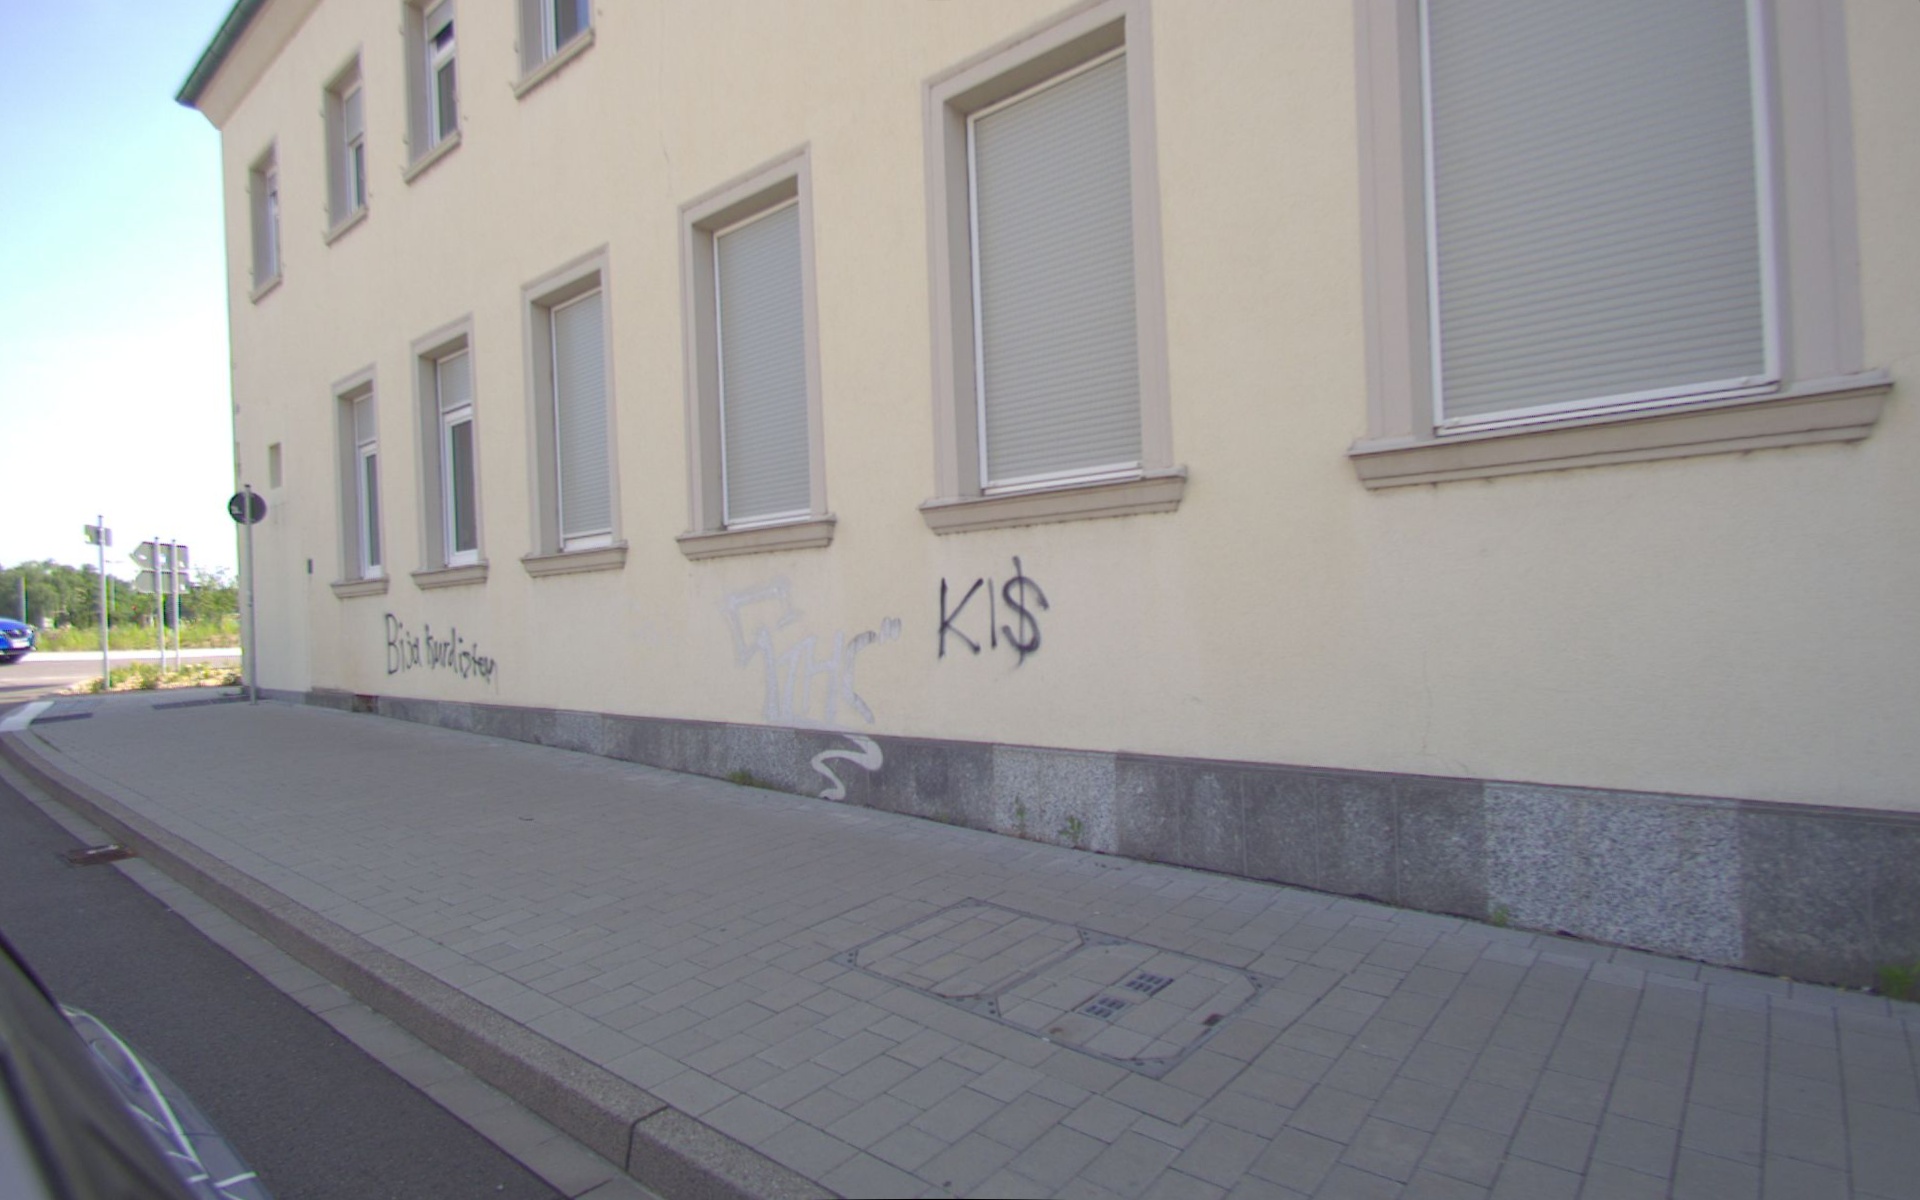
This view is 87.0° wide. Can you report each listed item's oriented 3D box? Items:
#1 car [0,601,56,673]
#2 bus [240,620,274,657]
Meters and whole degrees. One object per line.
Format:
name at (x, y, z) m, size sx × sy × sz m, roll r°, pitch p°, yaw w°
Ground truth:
car at (-24.443, 0.870, 23.948) m, size 4.287 × 1.676 × 1.889 m, roll 0°, pitch 0°, yaw -4°
bus at (-70.838, 3.931, 101.952) m, size 2.546 × 3.353 × 10.614 m, roll -5°, pitch 1°, yaw -35°
